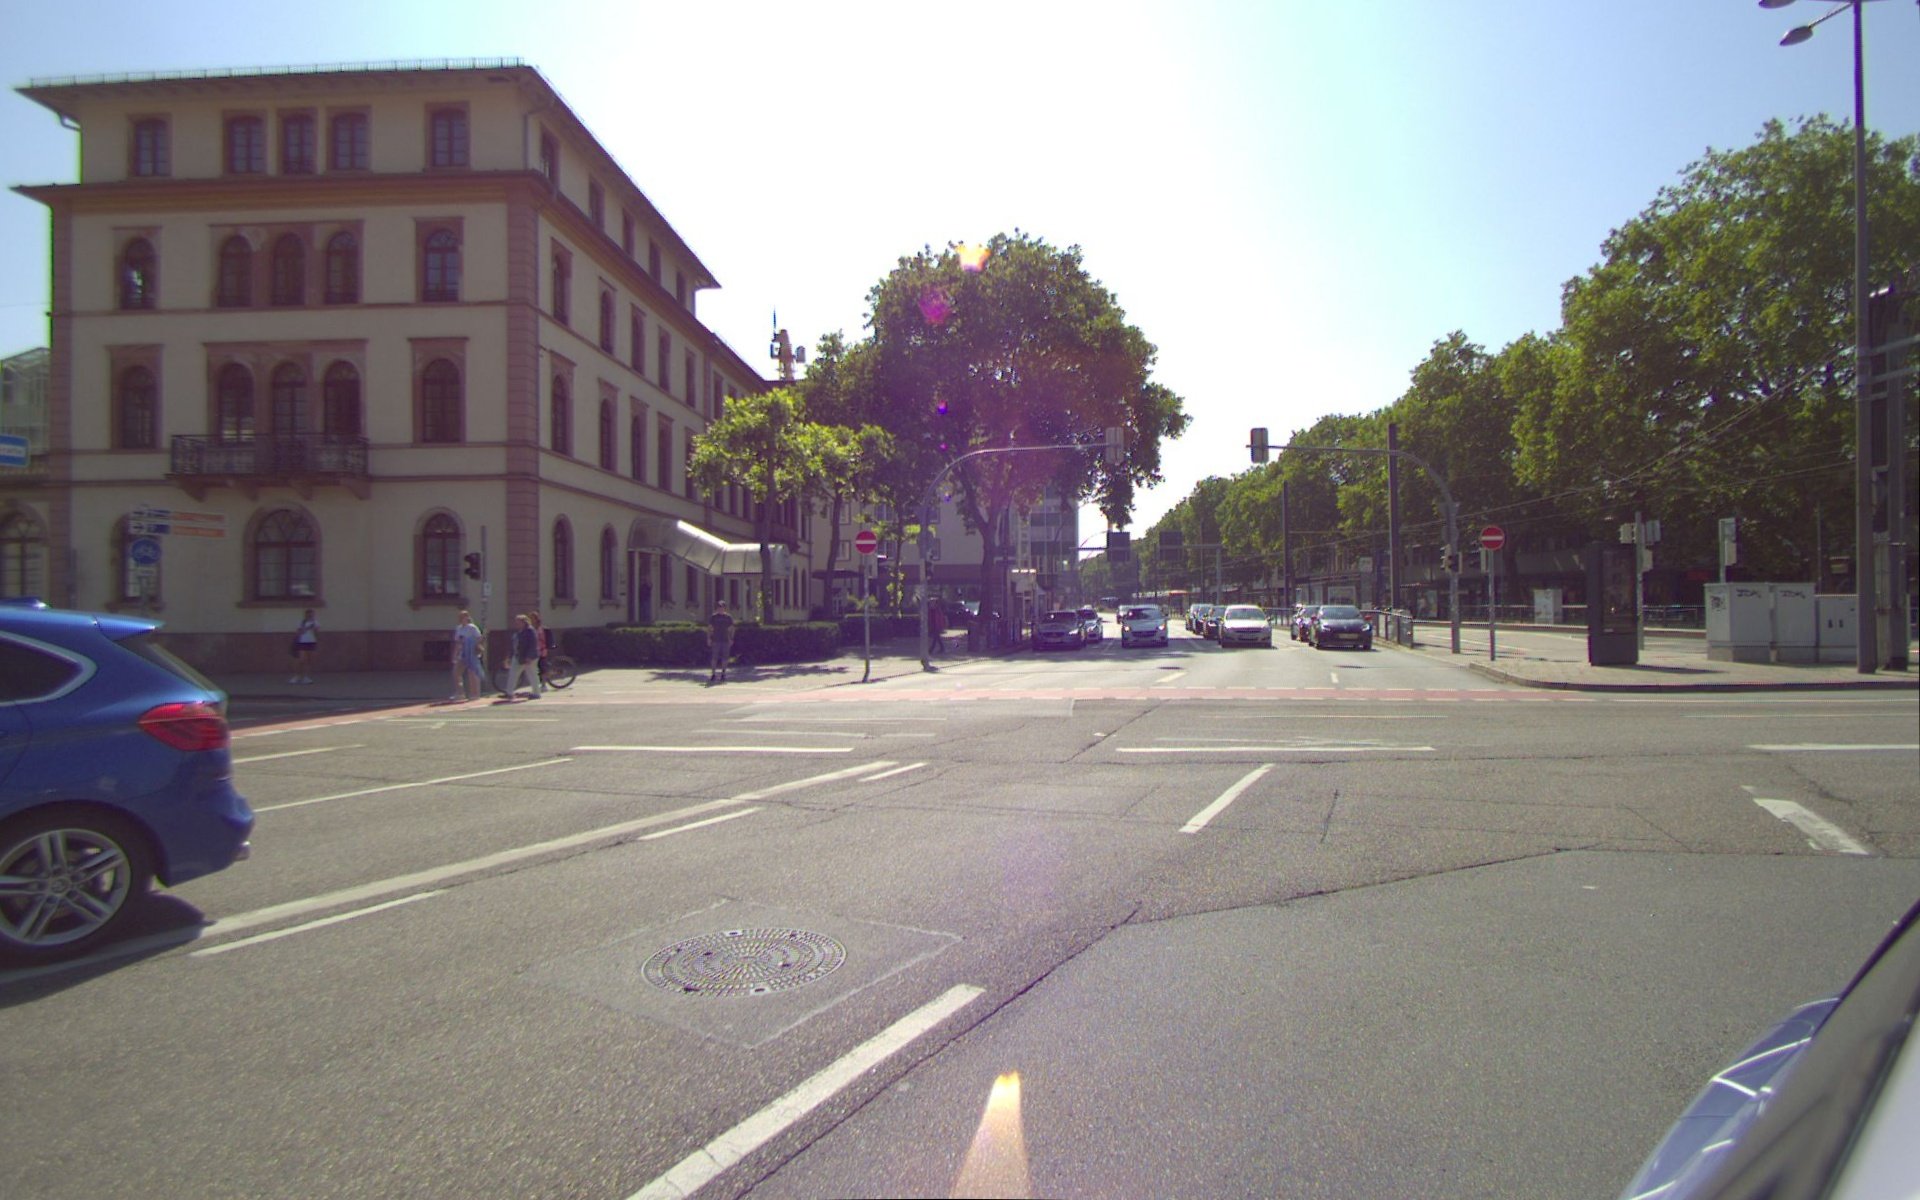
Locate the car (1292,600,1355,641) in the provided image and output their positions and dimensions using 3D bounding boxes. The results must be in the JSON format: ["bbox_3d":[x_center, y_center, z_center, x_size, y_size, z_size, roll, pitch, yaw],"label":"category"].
[{"bbox_3d":[14.622,0.783,40.868,1.764,1.536,3.961,1,0,10],"label":"car"}]

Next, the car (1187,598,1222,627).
[{"bbox_3d":[13.872,0.684,57.231,1.767,1.543,3.954,1,0,16],"label":"car"}]

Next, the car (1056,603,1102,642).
[{"bbox_3d":[5.148,0.920,43.308,1.763,1.545,3.962,1,0,10],"label":"car"}]

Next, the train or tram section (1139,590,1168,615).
[{"bbox_3d":[27.651,0.374,144.914,2.684,3.309,8.731,-1,0,2],"label":"train or tram section"}]

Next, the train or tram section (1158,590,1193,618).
[{"bbox_3d":[27.104,0.519,127.479,2.684,3.309,8.731,-1,0,2],"label":"train or tram section"}]

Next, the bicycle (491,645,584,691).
[{"bbox_3d":[-8.883,1.416,21.328,1.713,0.865,0.593,0,-1,-39],"label":"bicycle"}]

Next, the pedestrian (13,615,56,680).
[{"bbox_3d":[-24.368,1.236,26.651,0.526,1.670,0.673,-1,-1,6],"label":"pedestrian"}]

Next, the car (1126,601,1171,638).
[{"bbox_3d":[8.292,0.811,44.275,1.765,1.550,3.958,1,0,13],"label":"car"}]

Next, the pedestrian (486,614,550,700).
[{"bbox_3d":[-8.482,1.079,19.434,0.764,1.592,0.823,-1,-1,23],"label":"pedestrian"}]

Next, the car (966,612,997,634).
[{"bbox_3d":[1.348,1.413,62.953,1.564,1.339,3.571,-1,-1,7],"label":"car"}]

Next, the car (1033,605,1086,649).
[{"bbox_3d":[3.728,0.949,37.417,1.762,1.470,3.965,1,0,8],"label":"car"}]

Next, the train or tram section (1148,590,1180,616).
[{"bbox_3d":[27.372,0.446,136.177,2.684,3.309,8.731,-1,0,2],"label":"train or tram section"}]

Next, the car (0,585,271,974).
[{"bbox_3d":[-5.264,0.753,3.739,1.716,1.561,4.210,-3,-1,40],"label":"car"}]

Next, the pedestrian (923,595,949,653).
[{"bbox_3d":[-0.762,0.760,32.505,0.714,1.828,0.651,-1,-1,10],"label":"pedestrian"}]

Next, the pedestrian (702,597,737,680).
[{"bbox_3d":[-5.521,0.870,23.226,0.713,1.869,0.593,-1,-1,-20],"label":"pedestrian"}]

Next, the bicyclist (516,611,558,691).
[{"bbox_3d":[-8.910,1.059,21.312,0.671,1.627,0.593,0,-1,-38],"label":"bicyclist"}]

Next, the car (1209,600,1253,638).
[{"bbox_3d":[11.653,0.772,43.485,1.767,1.543,3.954,1,0,16],"label":"car"}]

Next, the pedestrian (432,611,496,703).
[{"bbox_3d":[-9.427,1.062,19.253,0.745,1.681,0.823,-1,-1,22],"label":"pedestrian"}]

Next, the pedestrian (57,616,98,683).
[{"bbox_3d":[-22.316,1.235,25.594,0.526,1.670,0.578,-1,-1,9],"label":"pedestrian"}]

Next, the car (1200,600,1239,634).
[{"bbox_3d":[12.624,0.792,49.127,1.767,1.543,3.954,1,0,16],"label":"car"}]

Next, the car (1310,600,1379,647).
[{"bbox_3d":[12.969,0.733,34.354,1.766,1.470,4.260,1,0,15],"label":"car"}]

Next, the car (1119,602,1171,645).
[{"bbox_3d":[6.844,0.836,37.612,1.763,1.470,3.962,1,0,10],"label":"car"}]

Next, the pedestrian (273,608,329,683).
[{"bbox_3d":[-15.432,1.057,23.721,0.828,1.717,0.744,-1,-1,2],"label":"pedestrian"}]

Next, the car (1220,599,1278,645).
[{"bbox_3d":[10.193,0.746,35.920,1.694,1.519,4.472,0,-1,13],"label":"car"}]
